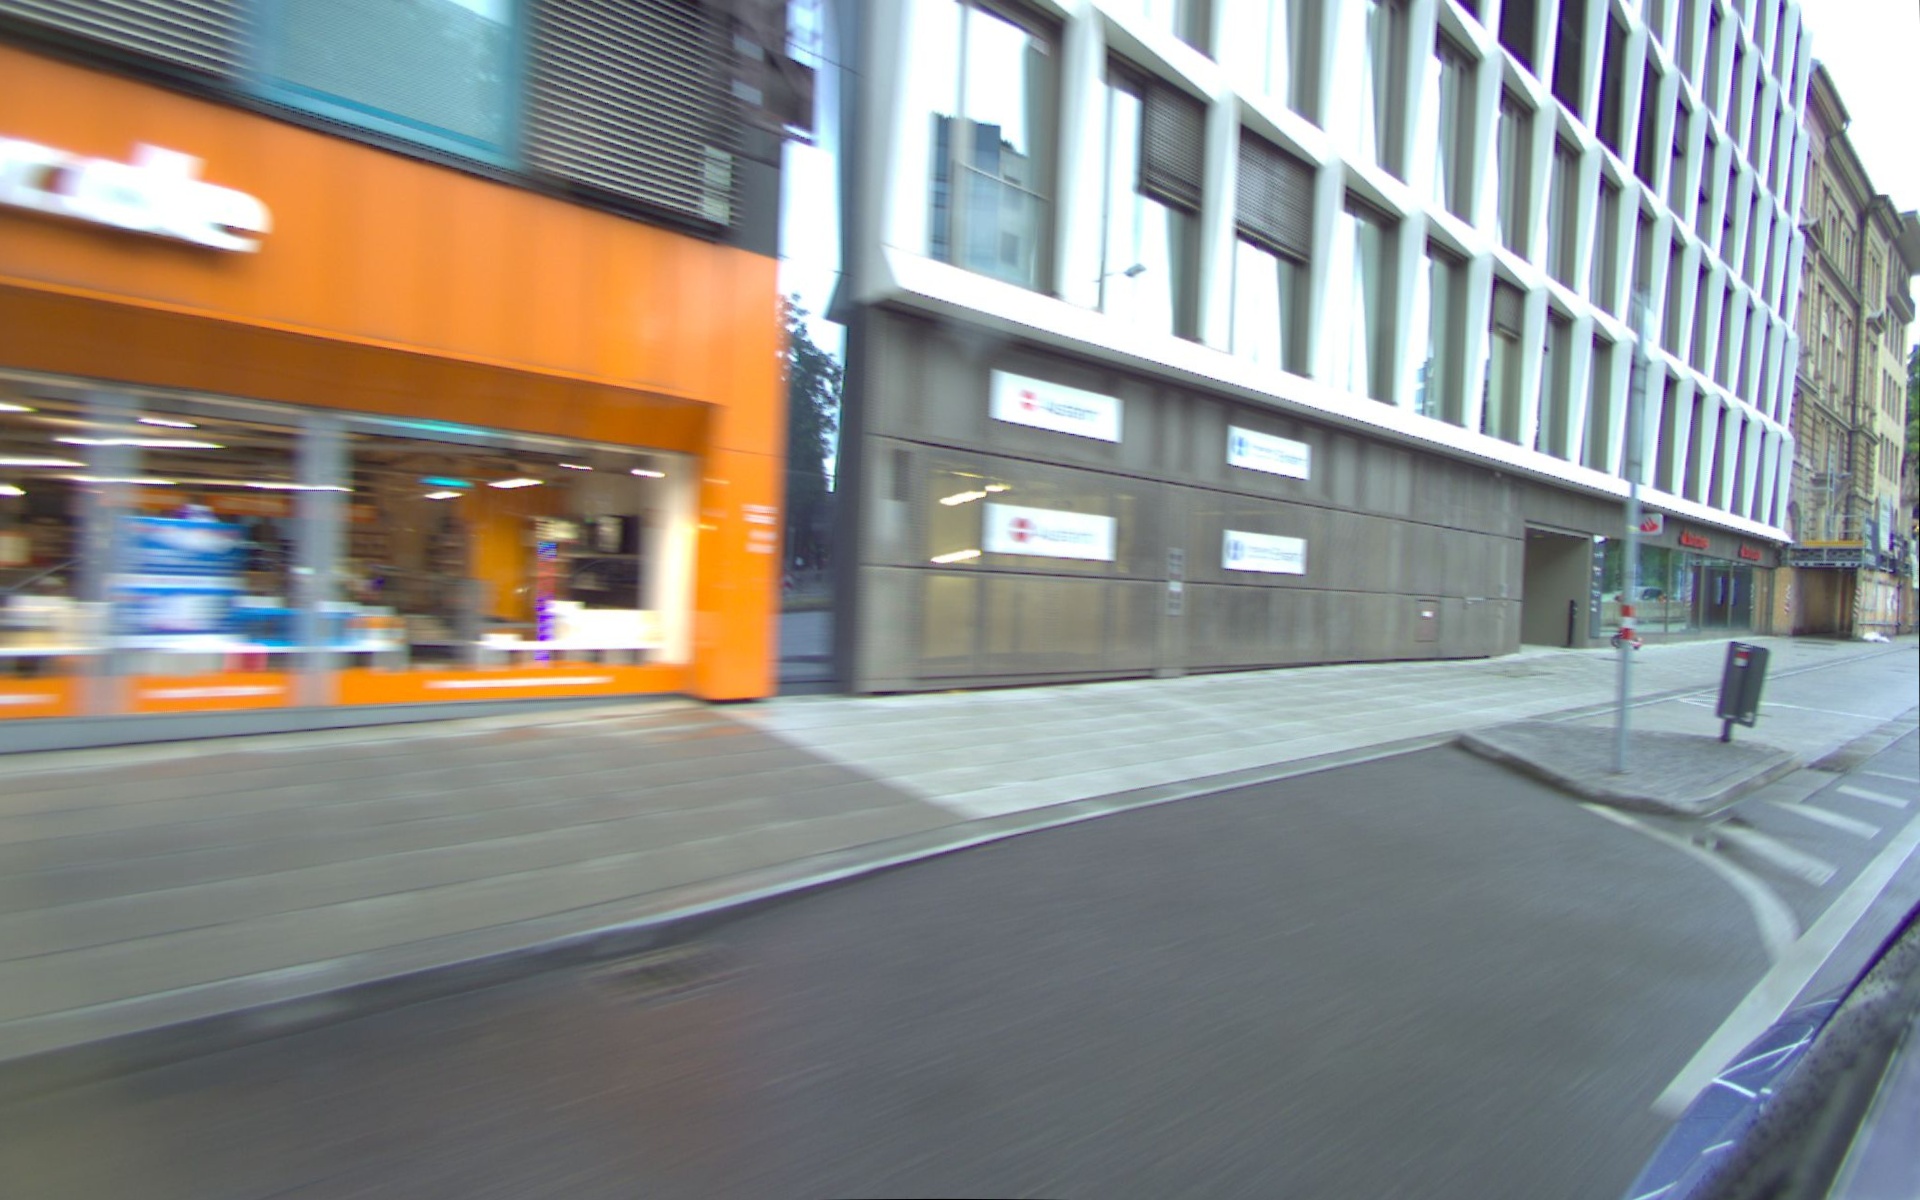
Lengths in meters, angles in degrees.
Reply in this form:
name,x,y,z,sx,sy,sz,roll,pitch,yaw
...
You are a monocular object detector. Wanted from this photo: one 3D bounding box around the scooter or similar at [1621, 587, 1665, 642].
name,x,y,z,sx,sy,sz,roll,pitch,yaw
scooter or similar,16.090,0.337,23.834,1.166,1.251,0.413,0,1,-32
